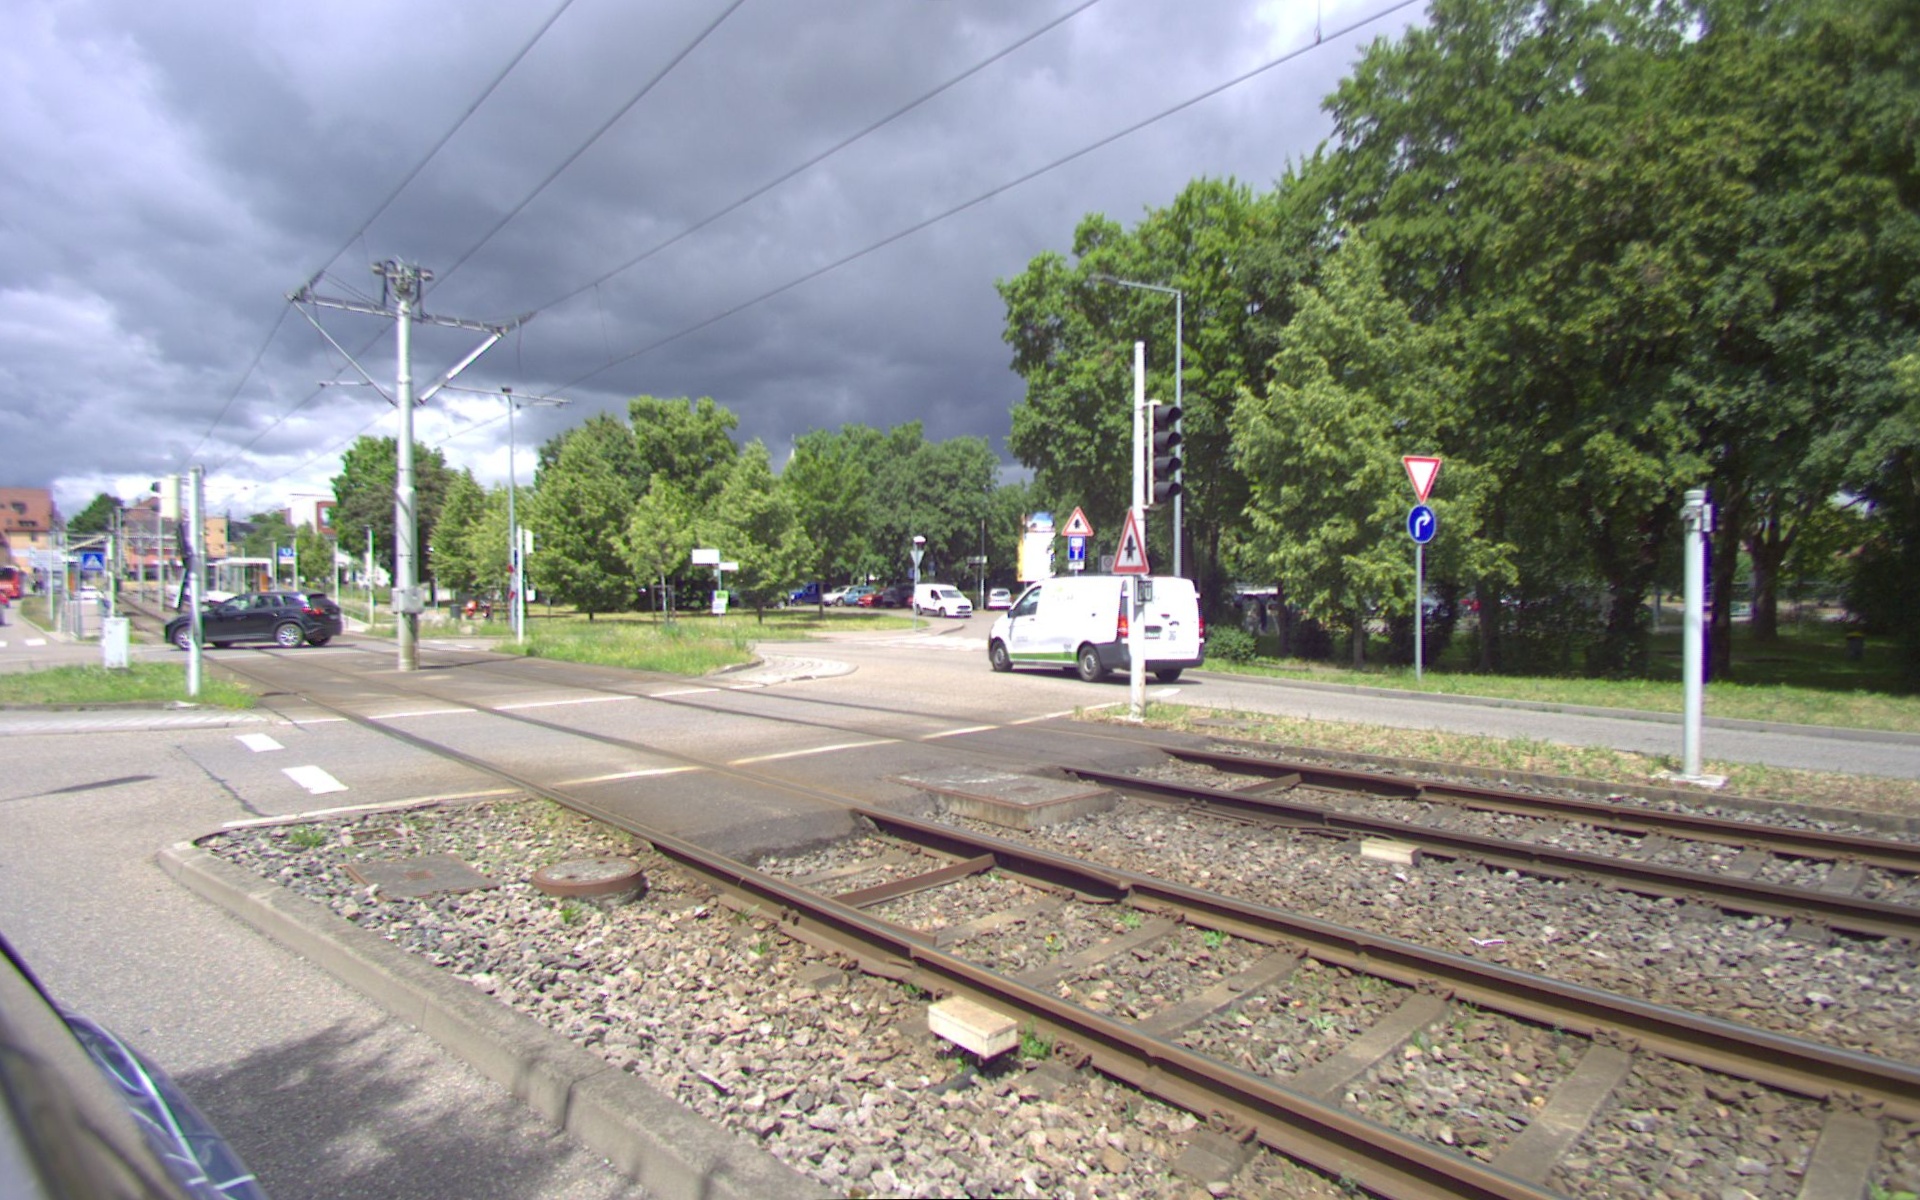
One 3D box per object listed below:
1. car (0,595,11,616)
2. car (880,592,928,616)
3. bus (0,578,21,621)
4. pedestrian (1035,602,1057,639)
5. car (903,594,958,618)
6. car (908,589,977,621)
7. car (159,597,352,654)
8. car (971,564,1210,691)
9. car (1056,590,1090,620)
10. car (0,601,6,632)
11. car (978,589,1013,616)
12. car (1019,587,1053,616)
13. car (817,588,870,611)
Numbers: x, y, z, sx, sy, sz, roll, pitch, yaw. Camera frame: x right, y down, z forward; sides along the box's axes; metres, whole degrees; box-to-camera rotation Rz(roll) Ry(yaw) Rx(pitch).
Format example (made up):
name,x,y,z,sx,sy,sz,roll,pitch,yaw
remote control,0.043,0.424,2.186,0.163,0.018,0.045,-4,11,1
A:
name,x,y,z,sx,sy,sz,roll,pitch,yaw
car,-70.594,0.390,73.935,1.713,1.521,3.519,-2,2,-42
car,-3.931,0.302,71.441,1.624,1.602,3.580,0,-1,32
bus,-90.910,-0.044,95.554,2.880,3.915,10.394,-1,0,-41
pedestrian,3.564,0.857,41.872,0.743,1.468,0.893,-1,1,15
car,-2.031,0.422,69.756,3.561,1.602,1.632,1,-1,-39
car,-1.024,0.247,57.272,1.714,1.702,4.362,-2,2,-36
car,-20.545,0.727,29.672,4.257,1.597,1.863,0,-1,-8
car,2.250,0.379,19.149,1.848,2.033,5.252,-2,2,-26
car,6.848,0.282,61.750,1.975,1.601,3.580,0,3,5
car,-46.178,0.808,47.413,1.911,1.392,4.668,-2,2,-40
car,2.285,0.146,66.950,1.971,1.696,4.002,-1,0,-2
car,4.582,0.074,61.195,1.975,1.601,3.580,0,3,5
car,-8.725,-0.033,75.558,3.897,1.652,1.574,0,2,36
